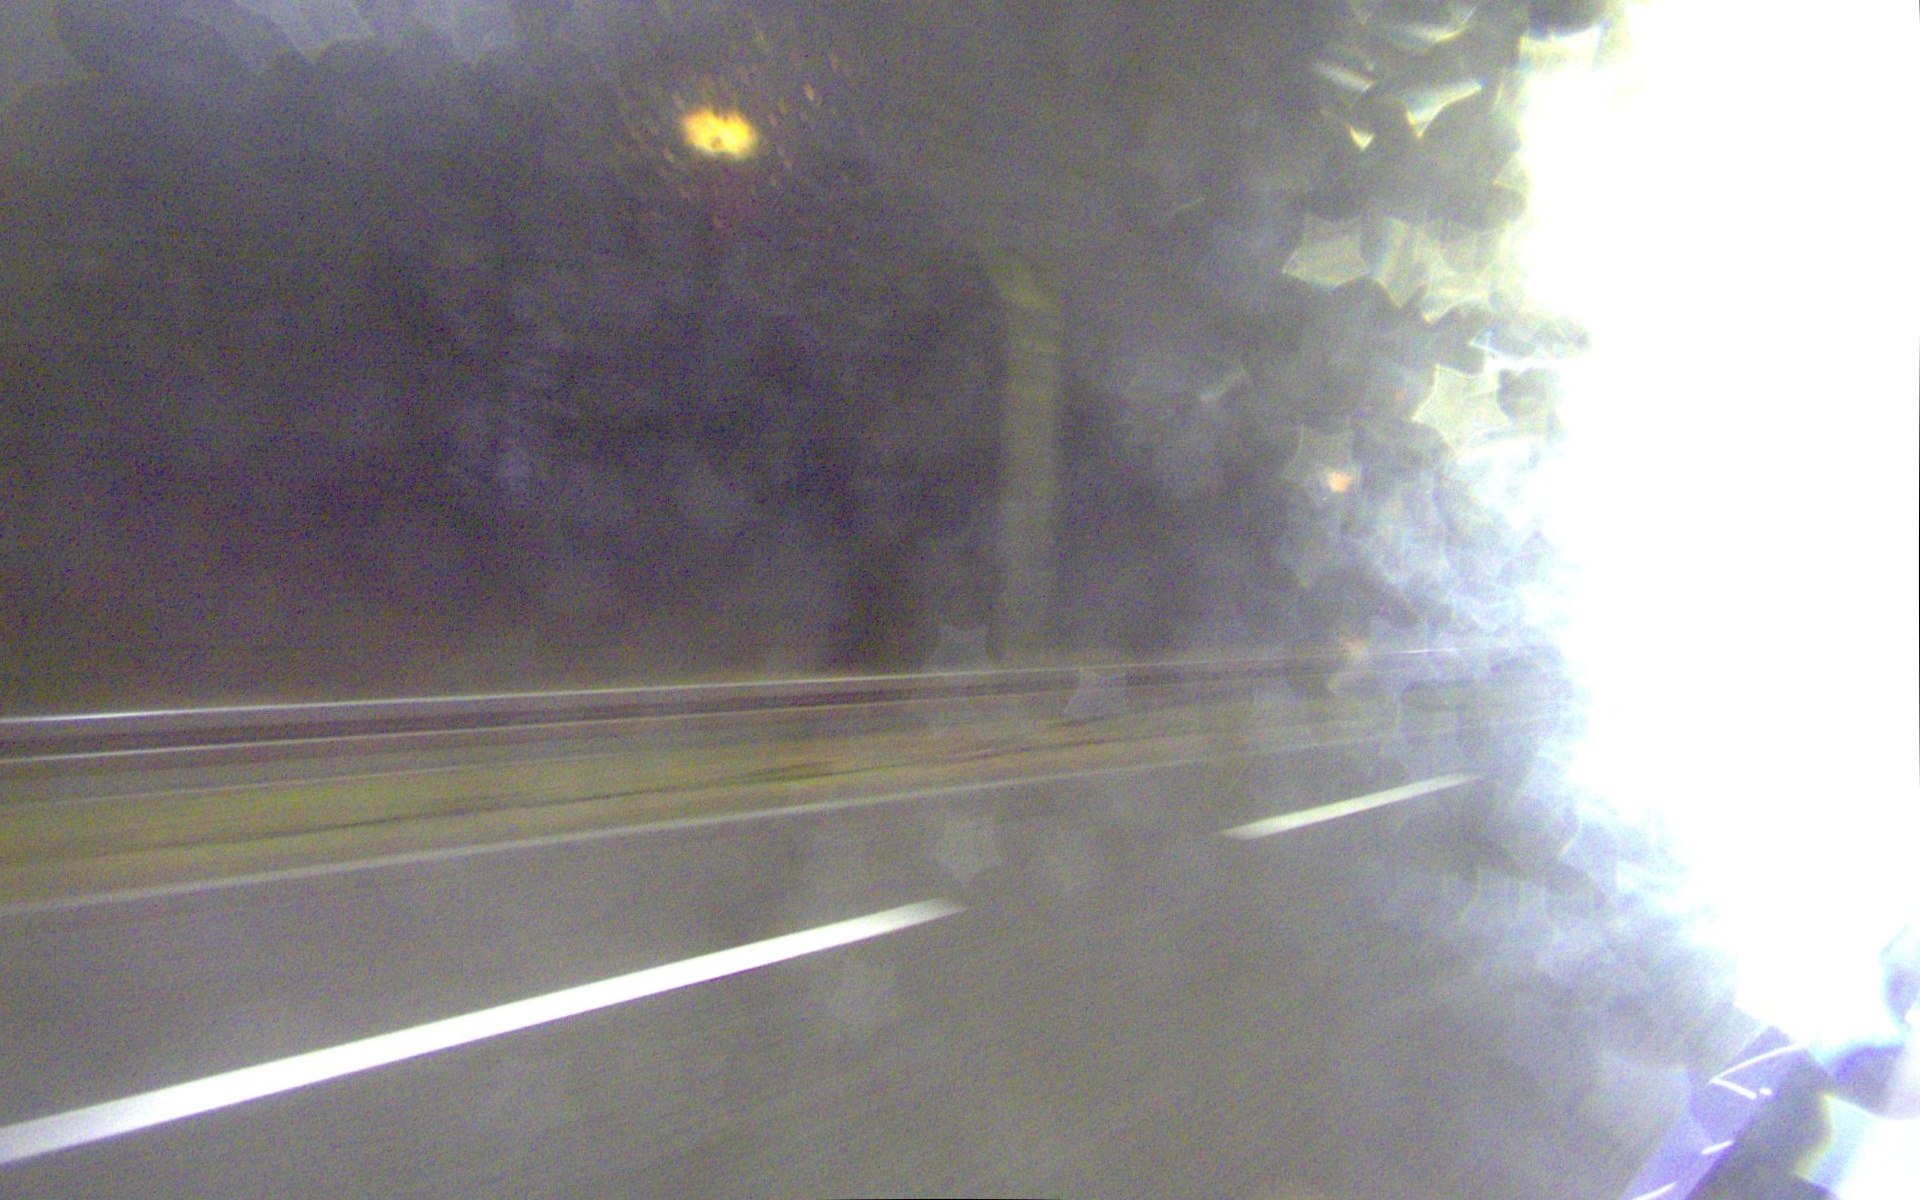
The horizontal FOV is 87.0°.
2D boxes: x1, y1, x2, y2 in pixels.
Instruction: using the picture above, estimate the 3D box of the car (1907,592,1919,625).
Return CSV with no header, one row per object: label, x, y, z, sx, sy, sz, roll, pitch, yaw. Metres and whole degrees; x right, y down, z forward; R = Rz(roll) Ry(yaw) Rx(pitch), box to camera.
car,58.123,0.572,60.466,1.992,1.958,3.941,4,2,40
